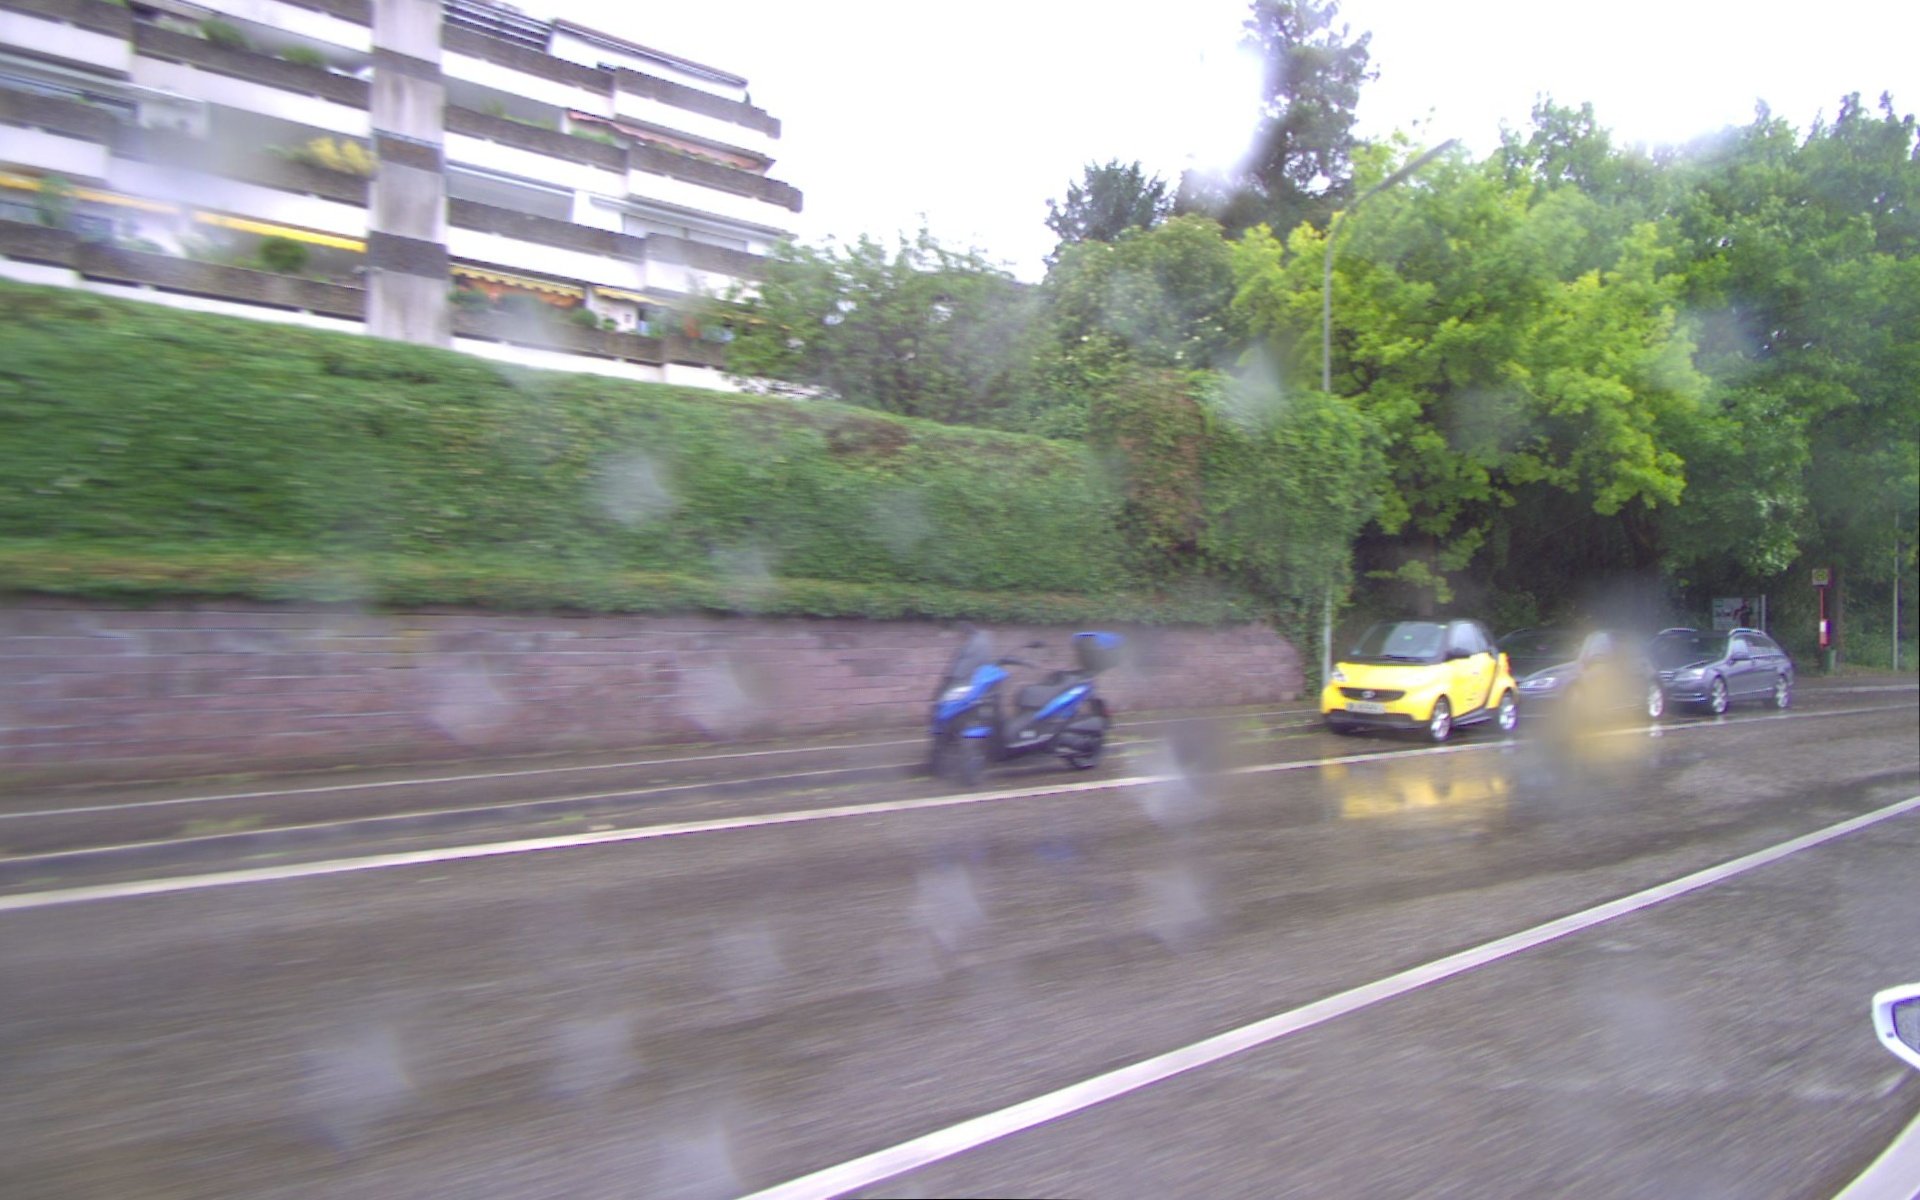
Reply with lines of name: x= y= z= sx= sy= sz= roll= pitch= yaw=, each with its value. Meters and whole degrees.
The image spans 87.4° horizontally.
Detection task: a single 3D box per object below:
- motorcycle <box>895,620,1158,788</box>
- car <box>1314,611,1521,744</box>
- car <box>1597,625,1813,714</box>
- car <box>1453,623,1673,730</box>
motorcycle: x=0.664 y=0.879 z=9.211 sx=2.476 sy=1.359 sz=0.831 roll=2 pitch=-2 yaw=-37
car: x=6.074 y=0.959 z=13.263 sx=2.796 sy=1.557 sz=1.422 roll=2 pitch=-2 yaw=-40
car: x=13.685 y=1.209 z=18.376 sx=4.691 sy=1.438 sz=1.677 roll=2 pitch=-2 yaw=-33
car: x=9.278 y=1.096 z=15.349 sx=4.064 sy=1.438 sz=1.423 roll=2 pitch=-2 yaw=-36
